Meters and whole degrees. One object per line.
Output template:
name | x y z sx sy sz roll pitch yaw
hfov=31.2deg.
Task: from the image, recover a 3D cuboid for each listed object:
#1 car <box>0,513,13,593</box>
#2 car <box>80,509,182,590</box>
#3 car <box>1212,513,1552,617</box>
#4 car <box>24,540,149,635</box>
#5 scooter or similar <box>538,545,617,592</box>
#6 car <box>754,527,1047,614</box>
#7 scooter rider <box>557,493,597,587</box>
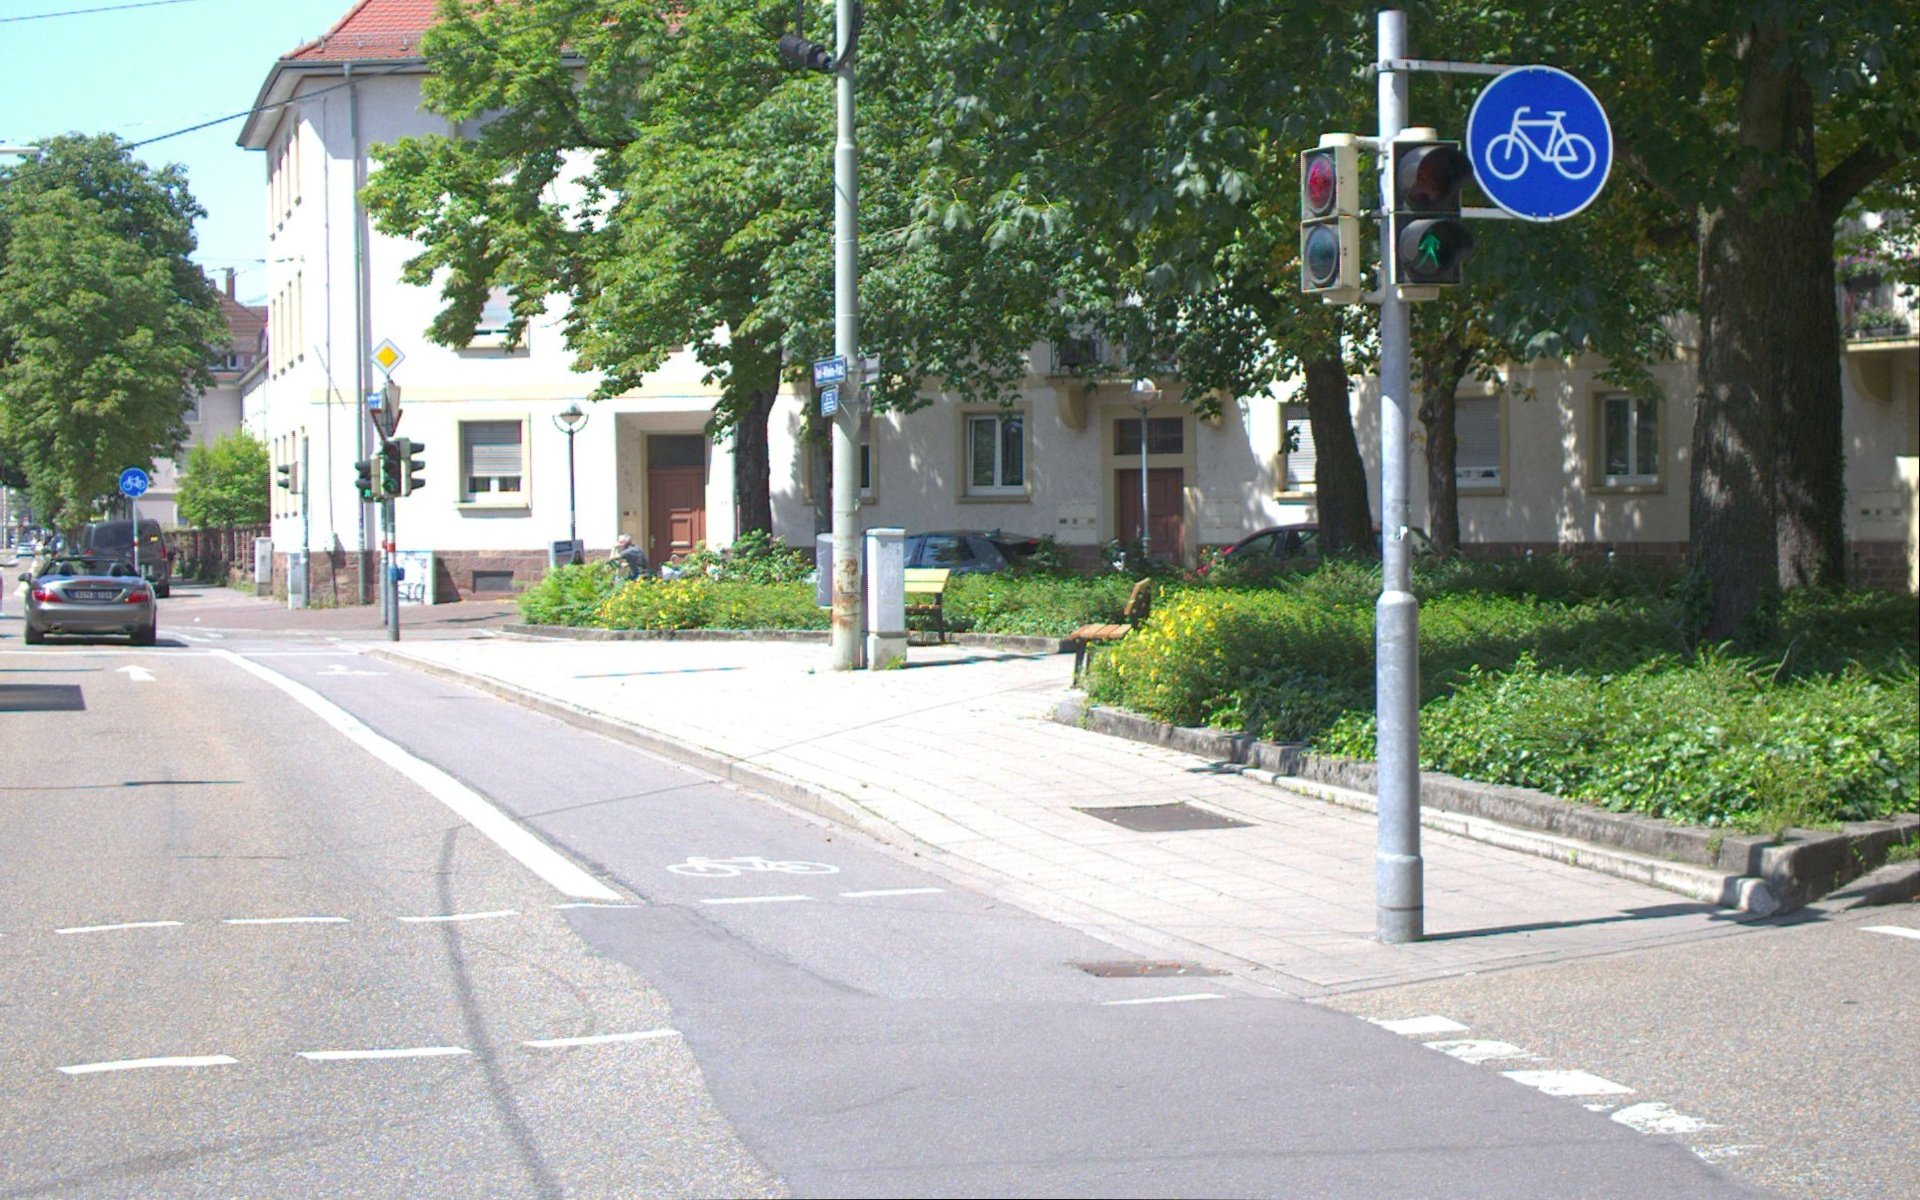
car | -19.399 -0.920 66.420 1.691 1.508 3.822 -1 1 -22
car | -19.527 -1.199 80.846 1.993 1.842 4.001 -1 2 -18
car | 5.649 -0.493 46.385 4.336 1.324 1.788 1 2 43
car | -12.820 -0.209 50.351 1.691 1.318 3.822 -1 1 -15
scooter or similar | -6.877 -0.575 61.846 1.311 0.834 0.527 -1 1 -20
car | -0.871 -0.440 50.623 3.991 1.239 1.622 0 1 21
scooter rider | -6.889 -1.086 61.831 0.590 1.681 0.528 -1 1 -20
